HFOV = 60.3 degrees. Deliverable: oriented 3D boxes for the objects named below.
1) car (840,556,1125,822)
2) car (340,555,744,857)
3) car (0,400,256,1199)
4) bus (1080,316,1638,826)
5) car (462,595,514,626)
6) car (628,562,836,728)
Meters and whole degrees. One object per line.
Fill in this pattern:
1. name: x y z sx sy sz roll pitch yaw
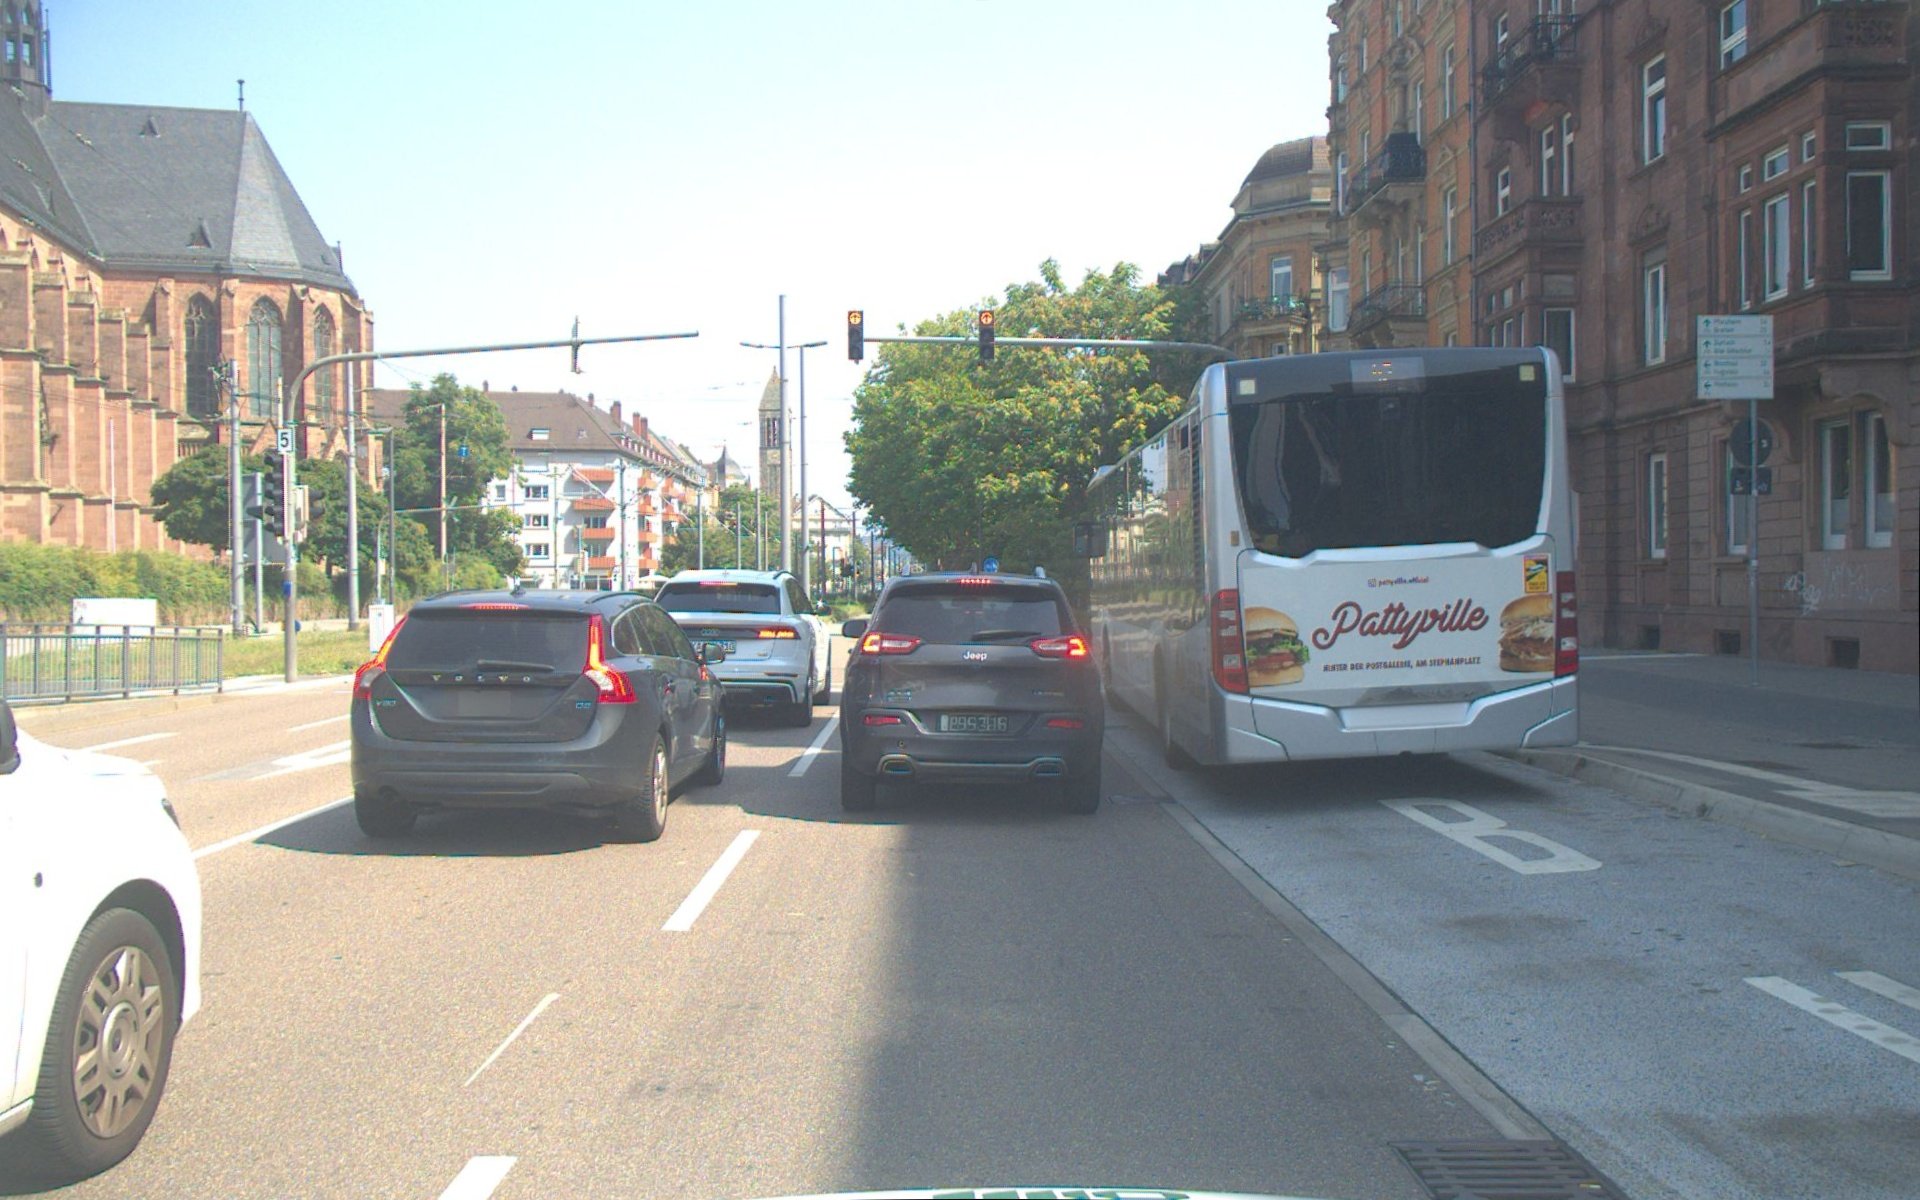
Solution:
1. car: 0.139 0.551 12.686 1.795 1.680 4.308 1 0 0
2. car: -2.568 0.567 11.204 1.712 1.642 4.307 1 0 -1
3. car: -2.892 0.501 2.740 1.712 1.852 4.238 0 0 -1
4. bus: 3.025 -0.213 16.729 2.687 3.161 11.956 -3 0 0
5. car: -24.607 0.524 86.333 1.712 1.460 4.569 -2 1 -5
6. car: -2.477 0.439 18.930 1.864 1.680 4.307 0 1 -1
